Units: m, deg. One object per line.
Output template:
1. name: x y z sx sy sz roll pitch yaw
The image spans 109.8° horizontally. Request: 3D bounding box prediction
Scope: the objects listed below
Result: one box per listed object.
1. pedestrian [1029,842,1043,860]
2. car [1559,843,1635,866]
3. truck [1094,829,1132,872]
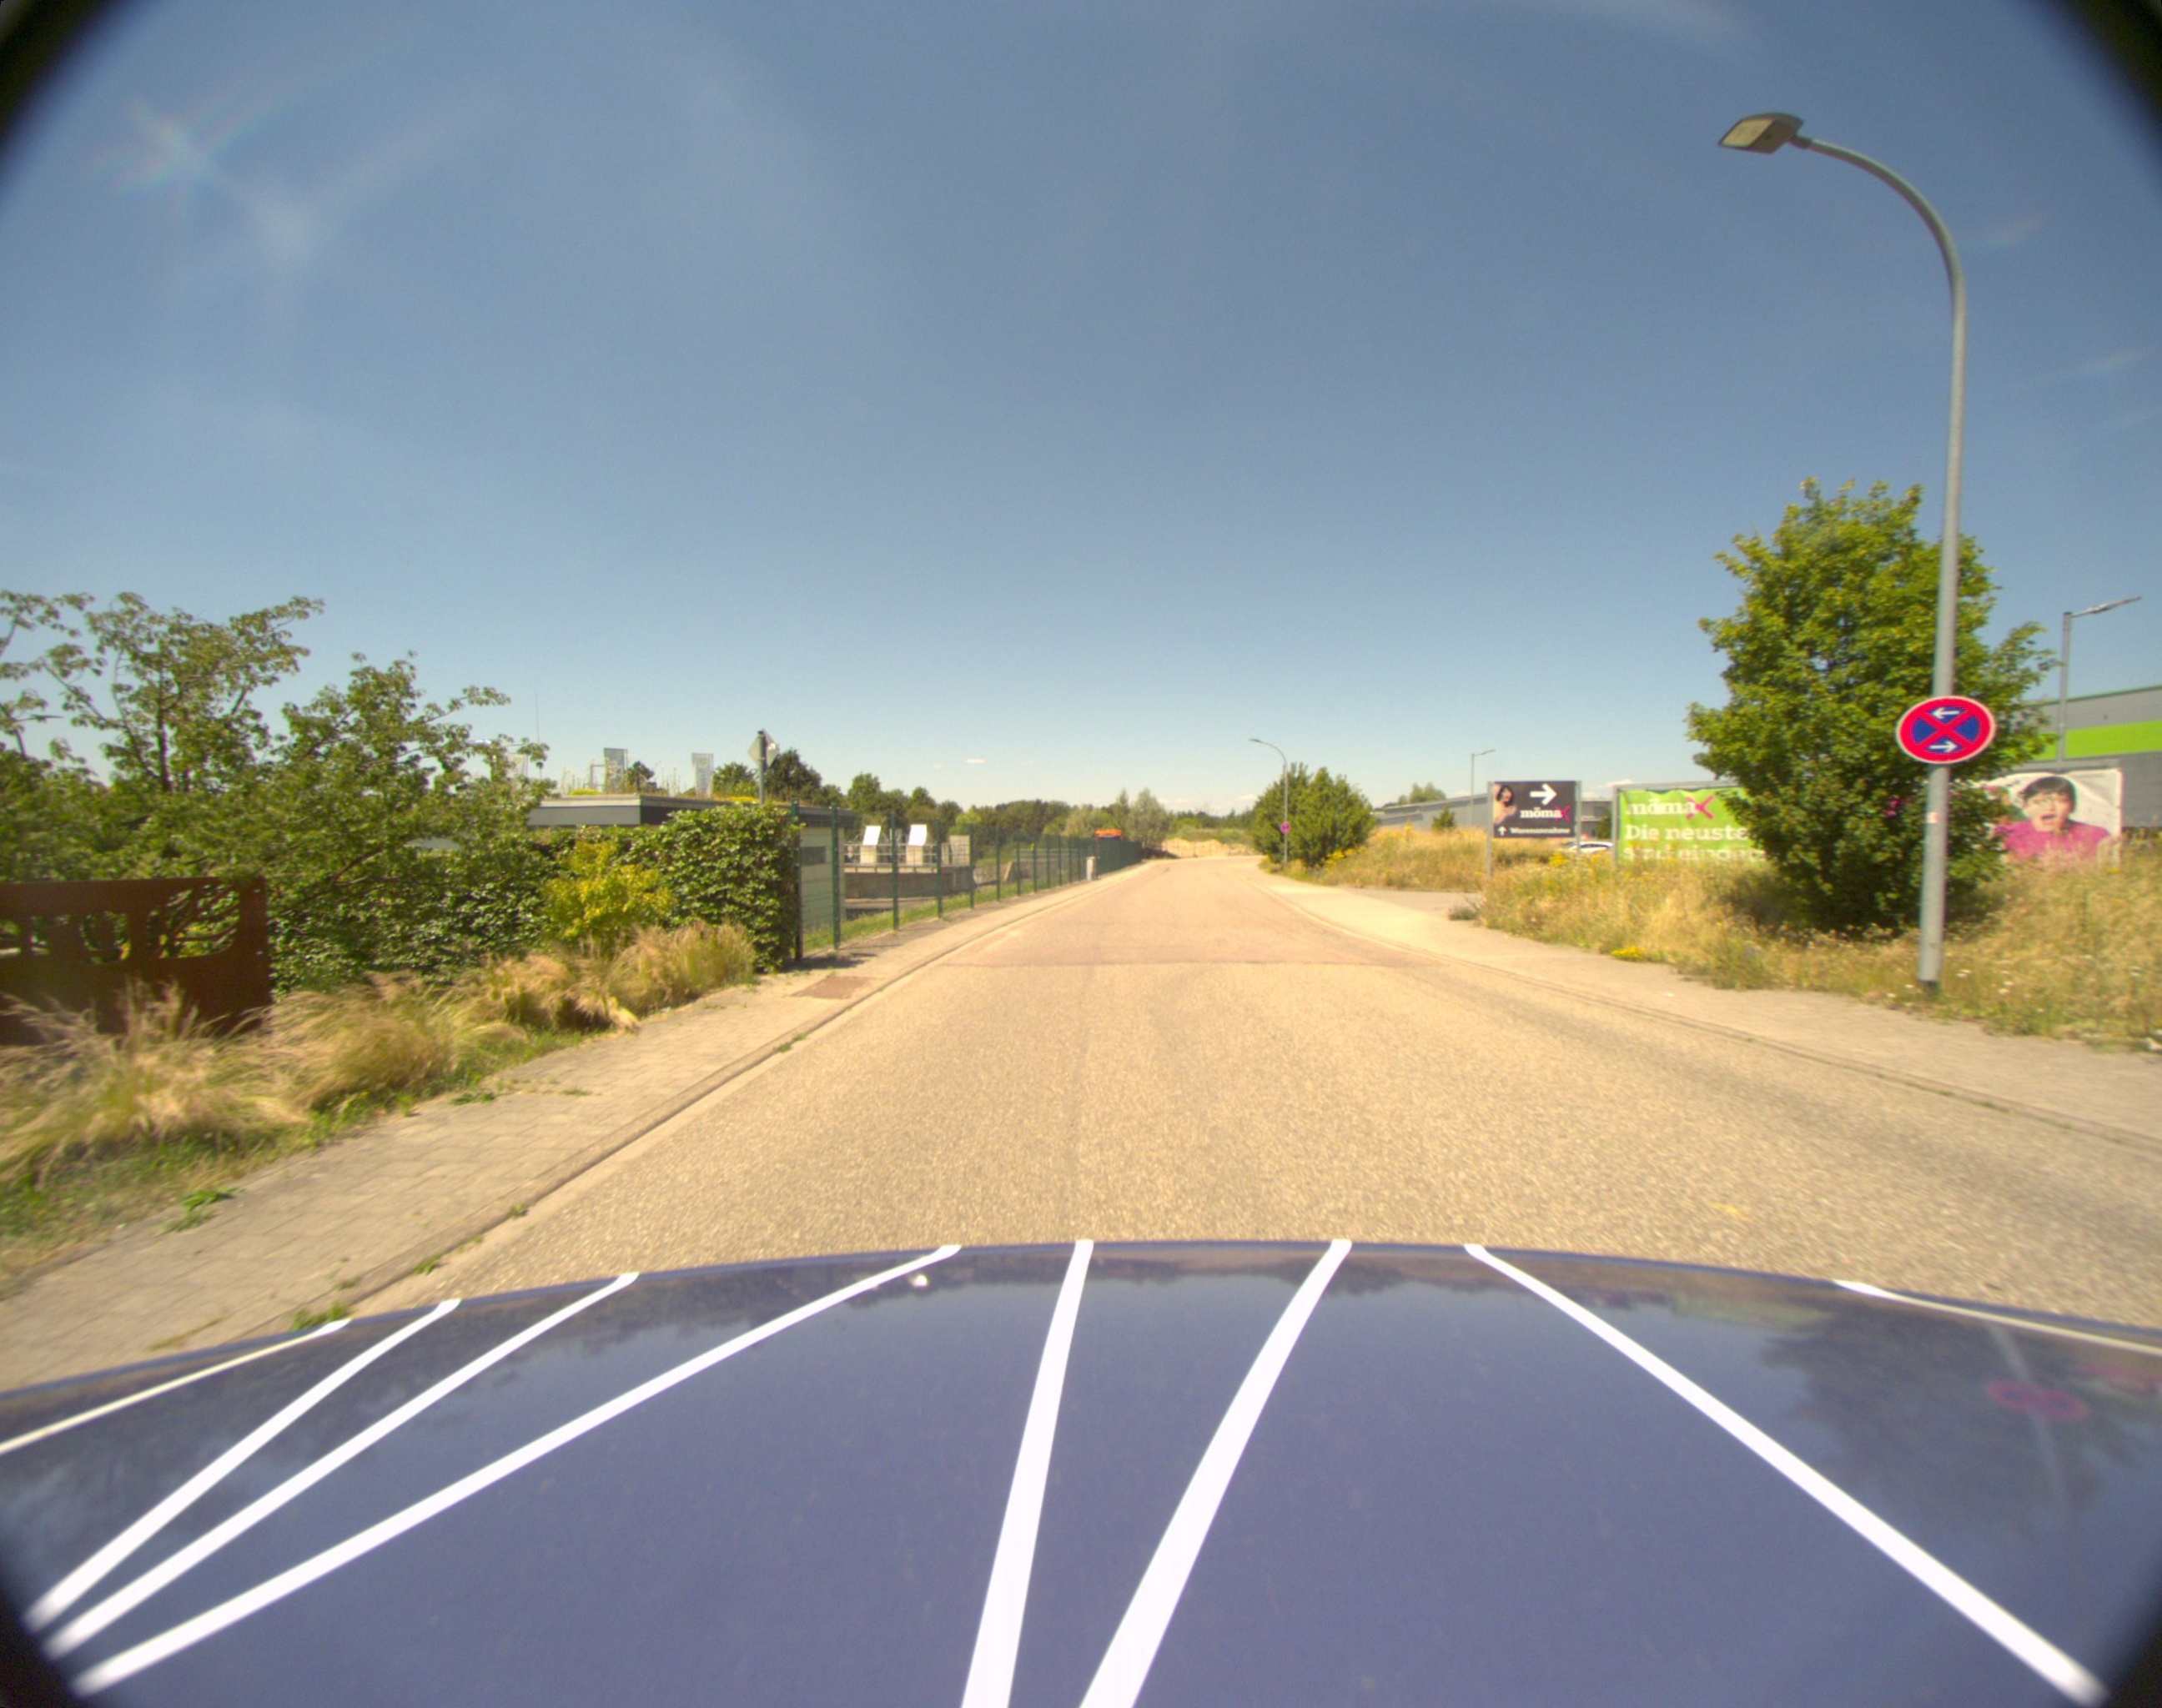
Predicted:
1. pedestrian: -5.037 -0.314 84.490 1.304 2.002 1.217 -2 0 8
2. car: 38.702 0.032 57.110 4.352 1.535 1.874 -2 0 14
3. truck: 3.434 -0.369 78.758 2.845 4.172 8.138 -2 0 9
